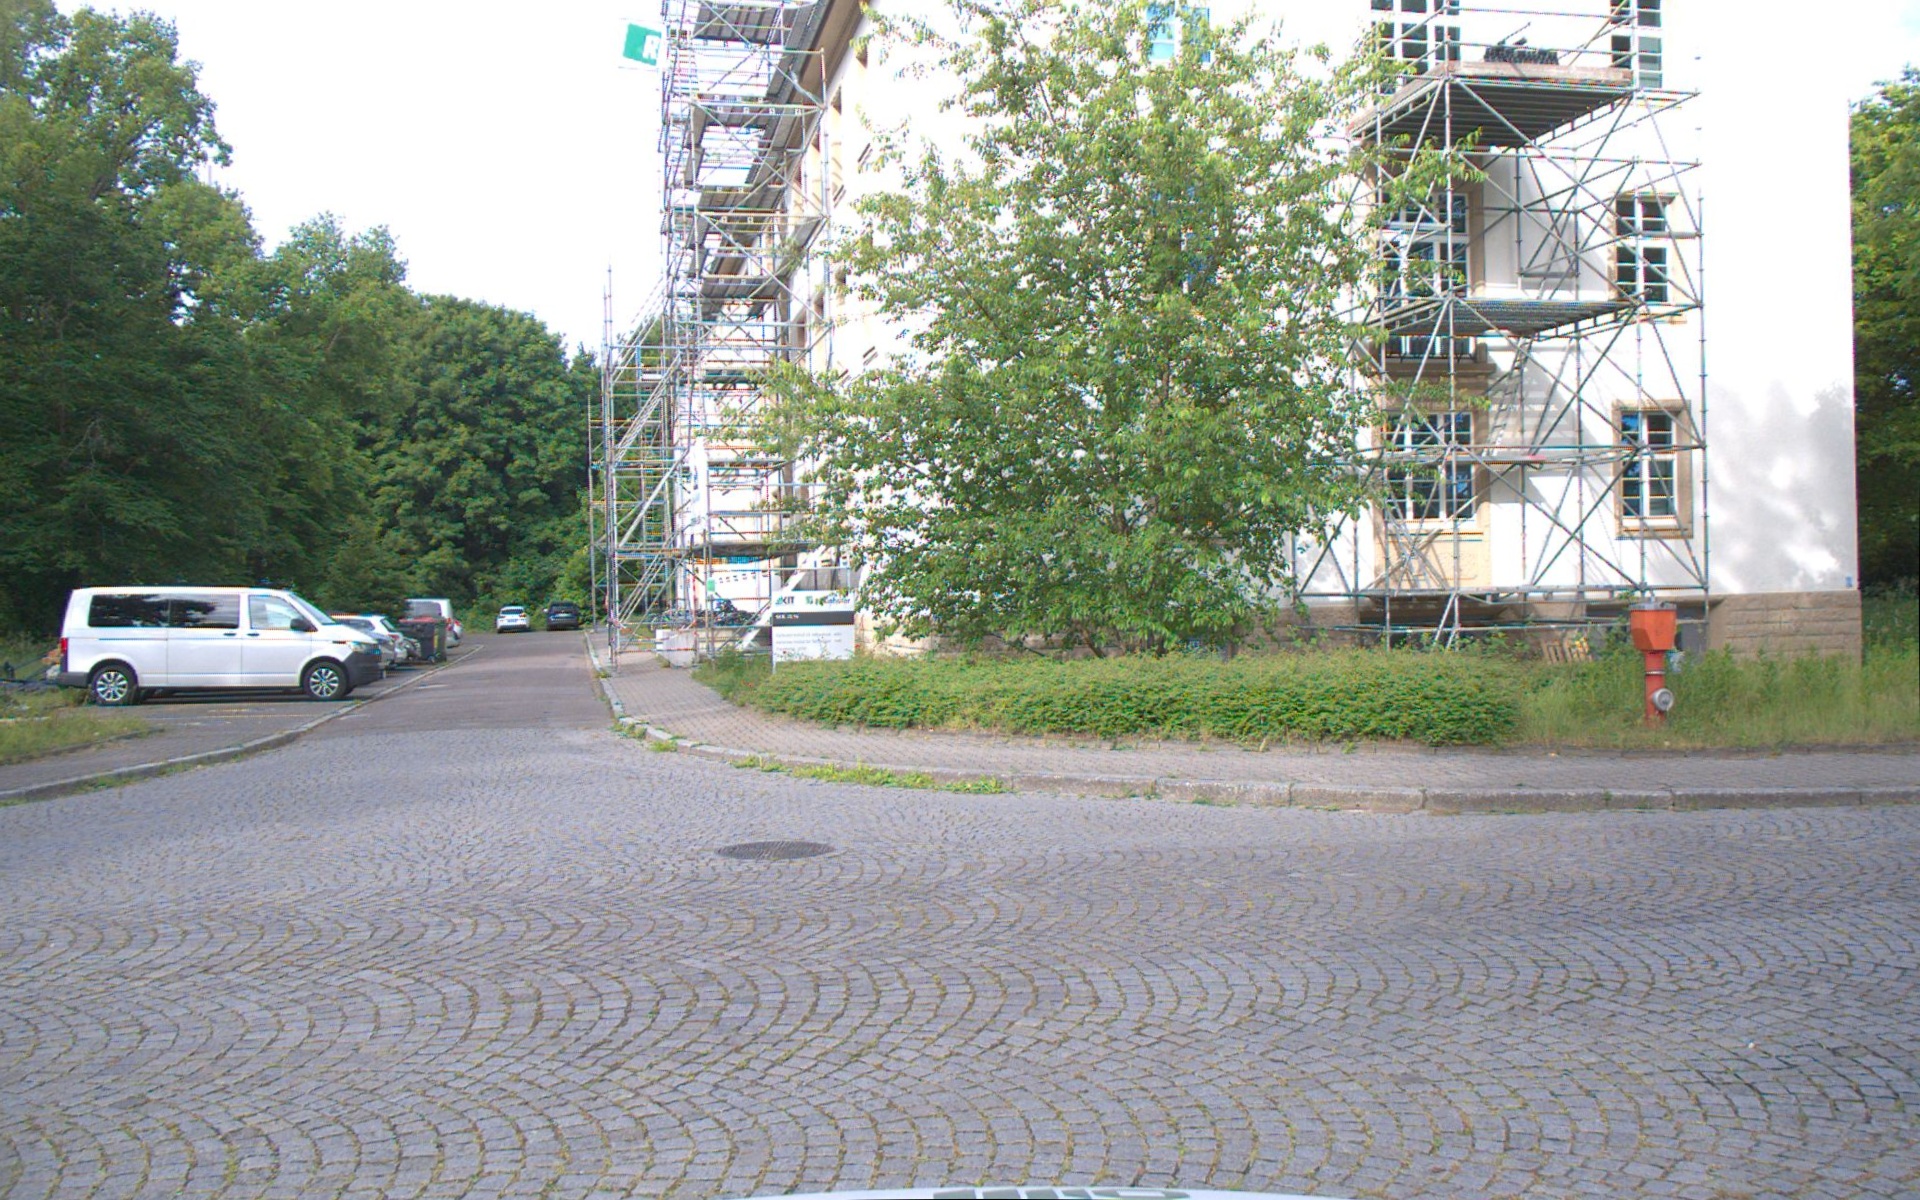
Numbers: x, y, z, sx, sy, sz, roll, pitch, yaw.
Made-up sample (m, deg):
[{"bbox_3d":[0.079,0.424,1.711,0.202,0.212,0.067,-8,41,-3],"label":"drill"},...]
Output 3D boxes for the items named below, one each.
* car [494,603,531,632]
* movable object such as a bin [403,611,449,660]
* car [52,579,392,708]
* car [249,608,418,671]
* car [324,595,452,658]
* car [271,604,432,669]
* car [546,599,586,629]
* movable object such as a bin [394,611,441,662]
[{"bbox_3d":[-25.338,1.010,93.616,1.969,1.575,3.941,1,-1,-16],"label":"car"},{"bbox_3d":[-15.659,1.043,48.551,1.163,1.432,0.972,1,-1,-13],"label":"movable object such as a bin"},{"bbox_3d":[-12.793,0.722,29.064,5.113,2.096,2.180,0,-1,-15],"label":"car"},{"bbox_3d":[-15.629,0.988,41.389,3.557,1.507,1.819,1,-1,-6],"label":"car"},{"bbox_3d":[-19.165,0.900,55.589,3.924,2.049,1.912,1,-1,-18],"label":"car"},{"bbox_3d":[-15.967,0.968,43.521,3.611,1.620,1.762,1,-1,-7],"label":"car"},{"bbox_3d":[-22.531,0.820,94.713,2.026,1.621,3.989,1,-1,-11],"label":"car"},{"bbox_3d":[-15.538,1.036,47.404,1.163,1.432,0.972,1,-1,-13],"label":"movable object such as a bin"}]
